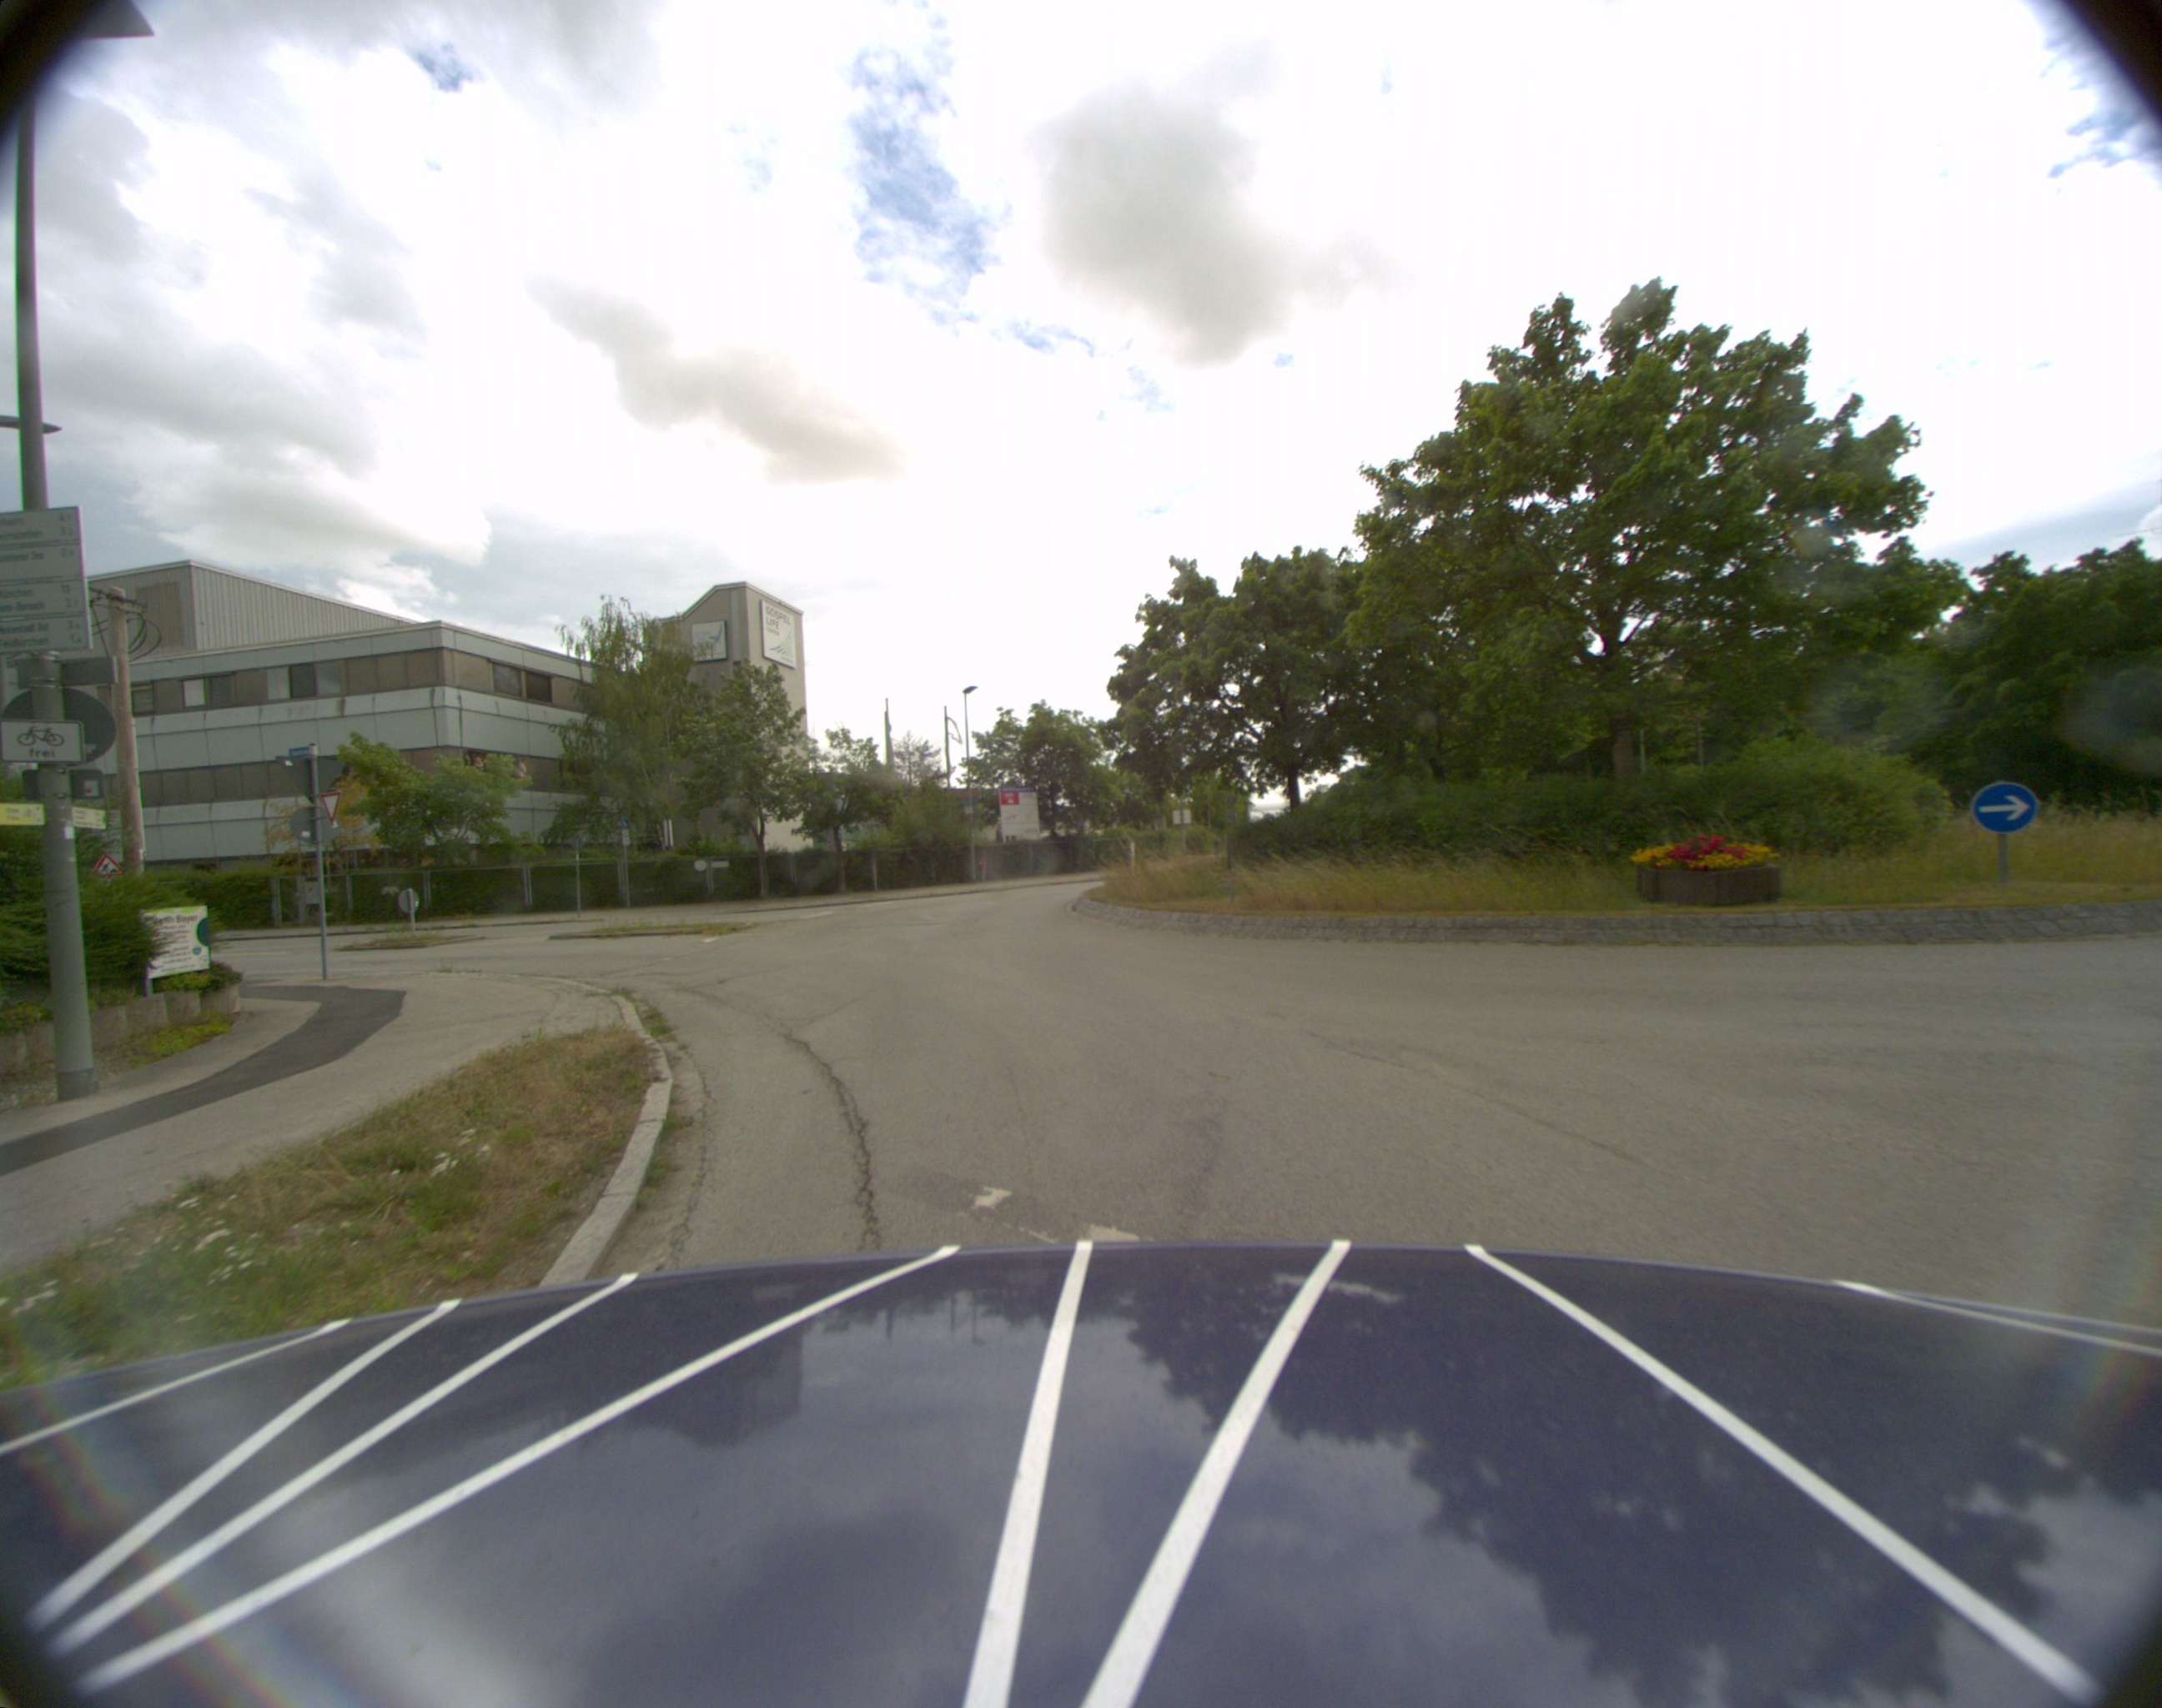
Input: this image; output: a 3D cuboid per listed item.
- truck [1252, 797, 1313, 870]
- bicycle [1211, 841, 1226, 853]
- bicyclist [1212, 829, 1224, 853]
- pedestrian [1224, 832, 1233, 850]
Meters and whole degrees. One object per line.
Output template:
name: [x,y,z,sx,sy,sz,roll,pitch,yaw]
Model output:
truck: [10.791,-1.073,41.240,2.612,3.428,7.512,-4,1,12]
bicycle: [10.510,-0.555,58.121,0.965,0.871,2.496,-1,1,7]
bicyclist: [10.452,-0.994,57.963,0.811,1.778,0.979,-1,1,7]
pedestrian: [12.848,-1.152,66.147,0.545,1.521,0.844,-3,1,-4]
